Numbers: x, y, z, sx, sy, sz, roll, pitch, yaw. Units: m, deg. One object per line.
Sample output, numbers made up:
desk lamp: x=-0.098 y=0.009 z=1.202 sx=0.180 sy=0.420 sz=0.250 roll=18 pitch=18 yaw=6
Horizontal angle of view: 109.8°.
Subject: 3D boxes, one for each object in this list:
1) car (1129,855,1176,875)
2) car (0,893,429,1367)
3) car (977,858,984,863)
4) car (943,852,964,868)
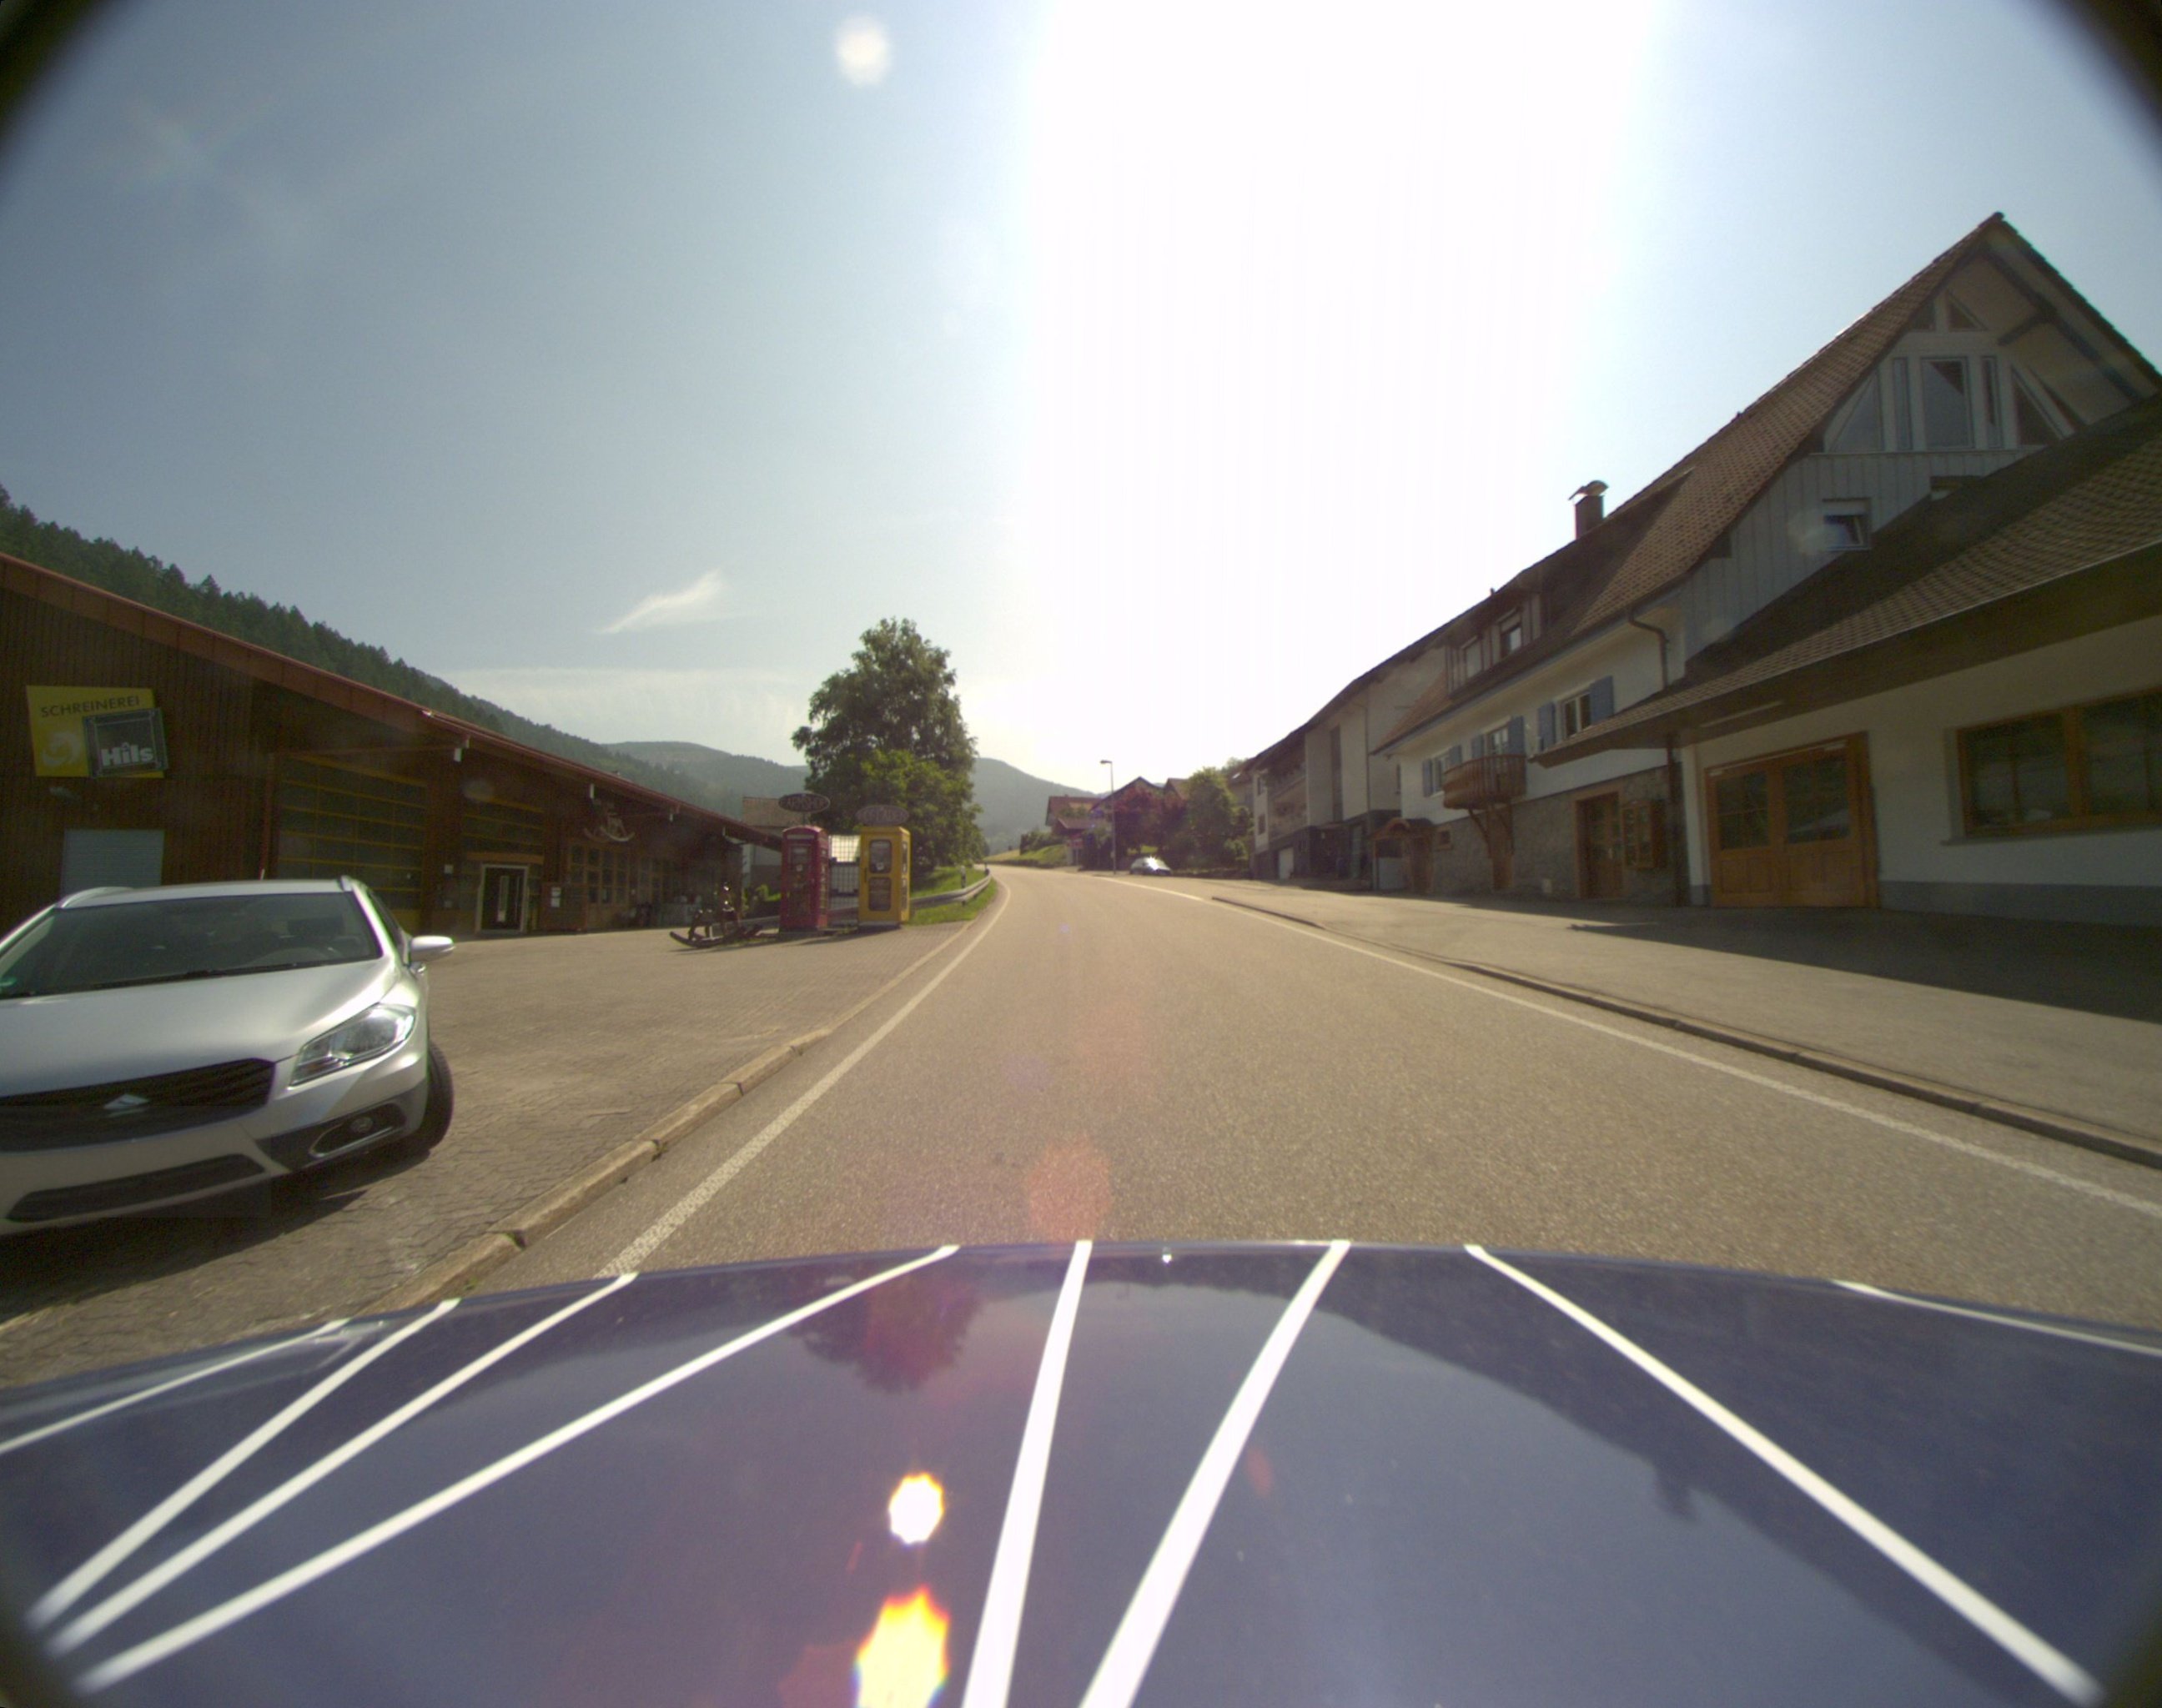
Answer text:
car: x=4.900 y=0.714 z=52.673 sx=1.789 sy=1.331 sz=4.690 roll=0 pitch=0 yaw=-14
car: x=-5.106 y=1.083 z=4.419 sx=1.909 sy=1.561 sz=4.451 roll=-3 pitch=0 yaw=-41
car: x=-28.728 y=1.879 z=217.130 sx=1.817 sy=1.500 sz=4.258 roll=-1 pitch=0 yaw=-11
car: x=-14.732 y=0.724 z=88.055 sx=1.813 sy=1.802 sz=4.662 roll=1 pitch=0 yaw=-2
